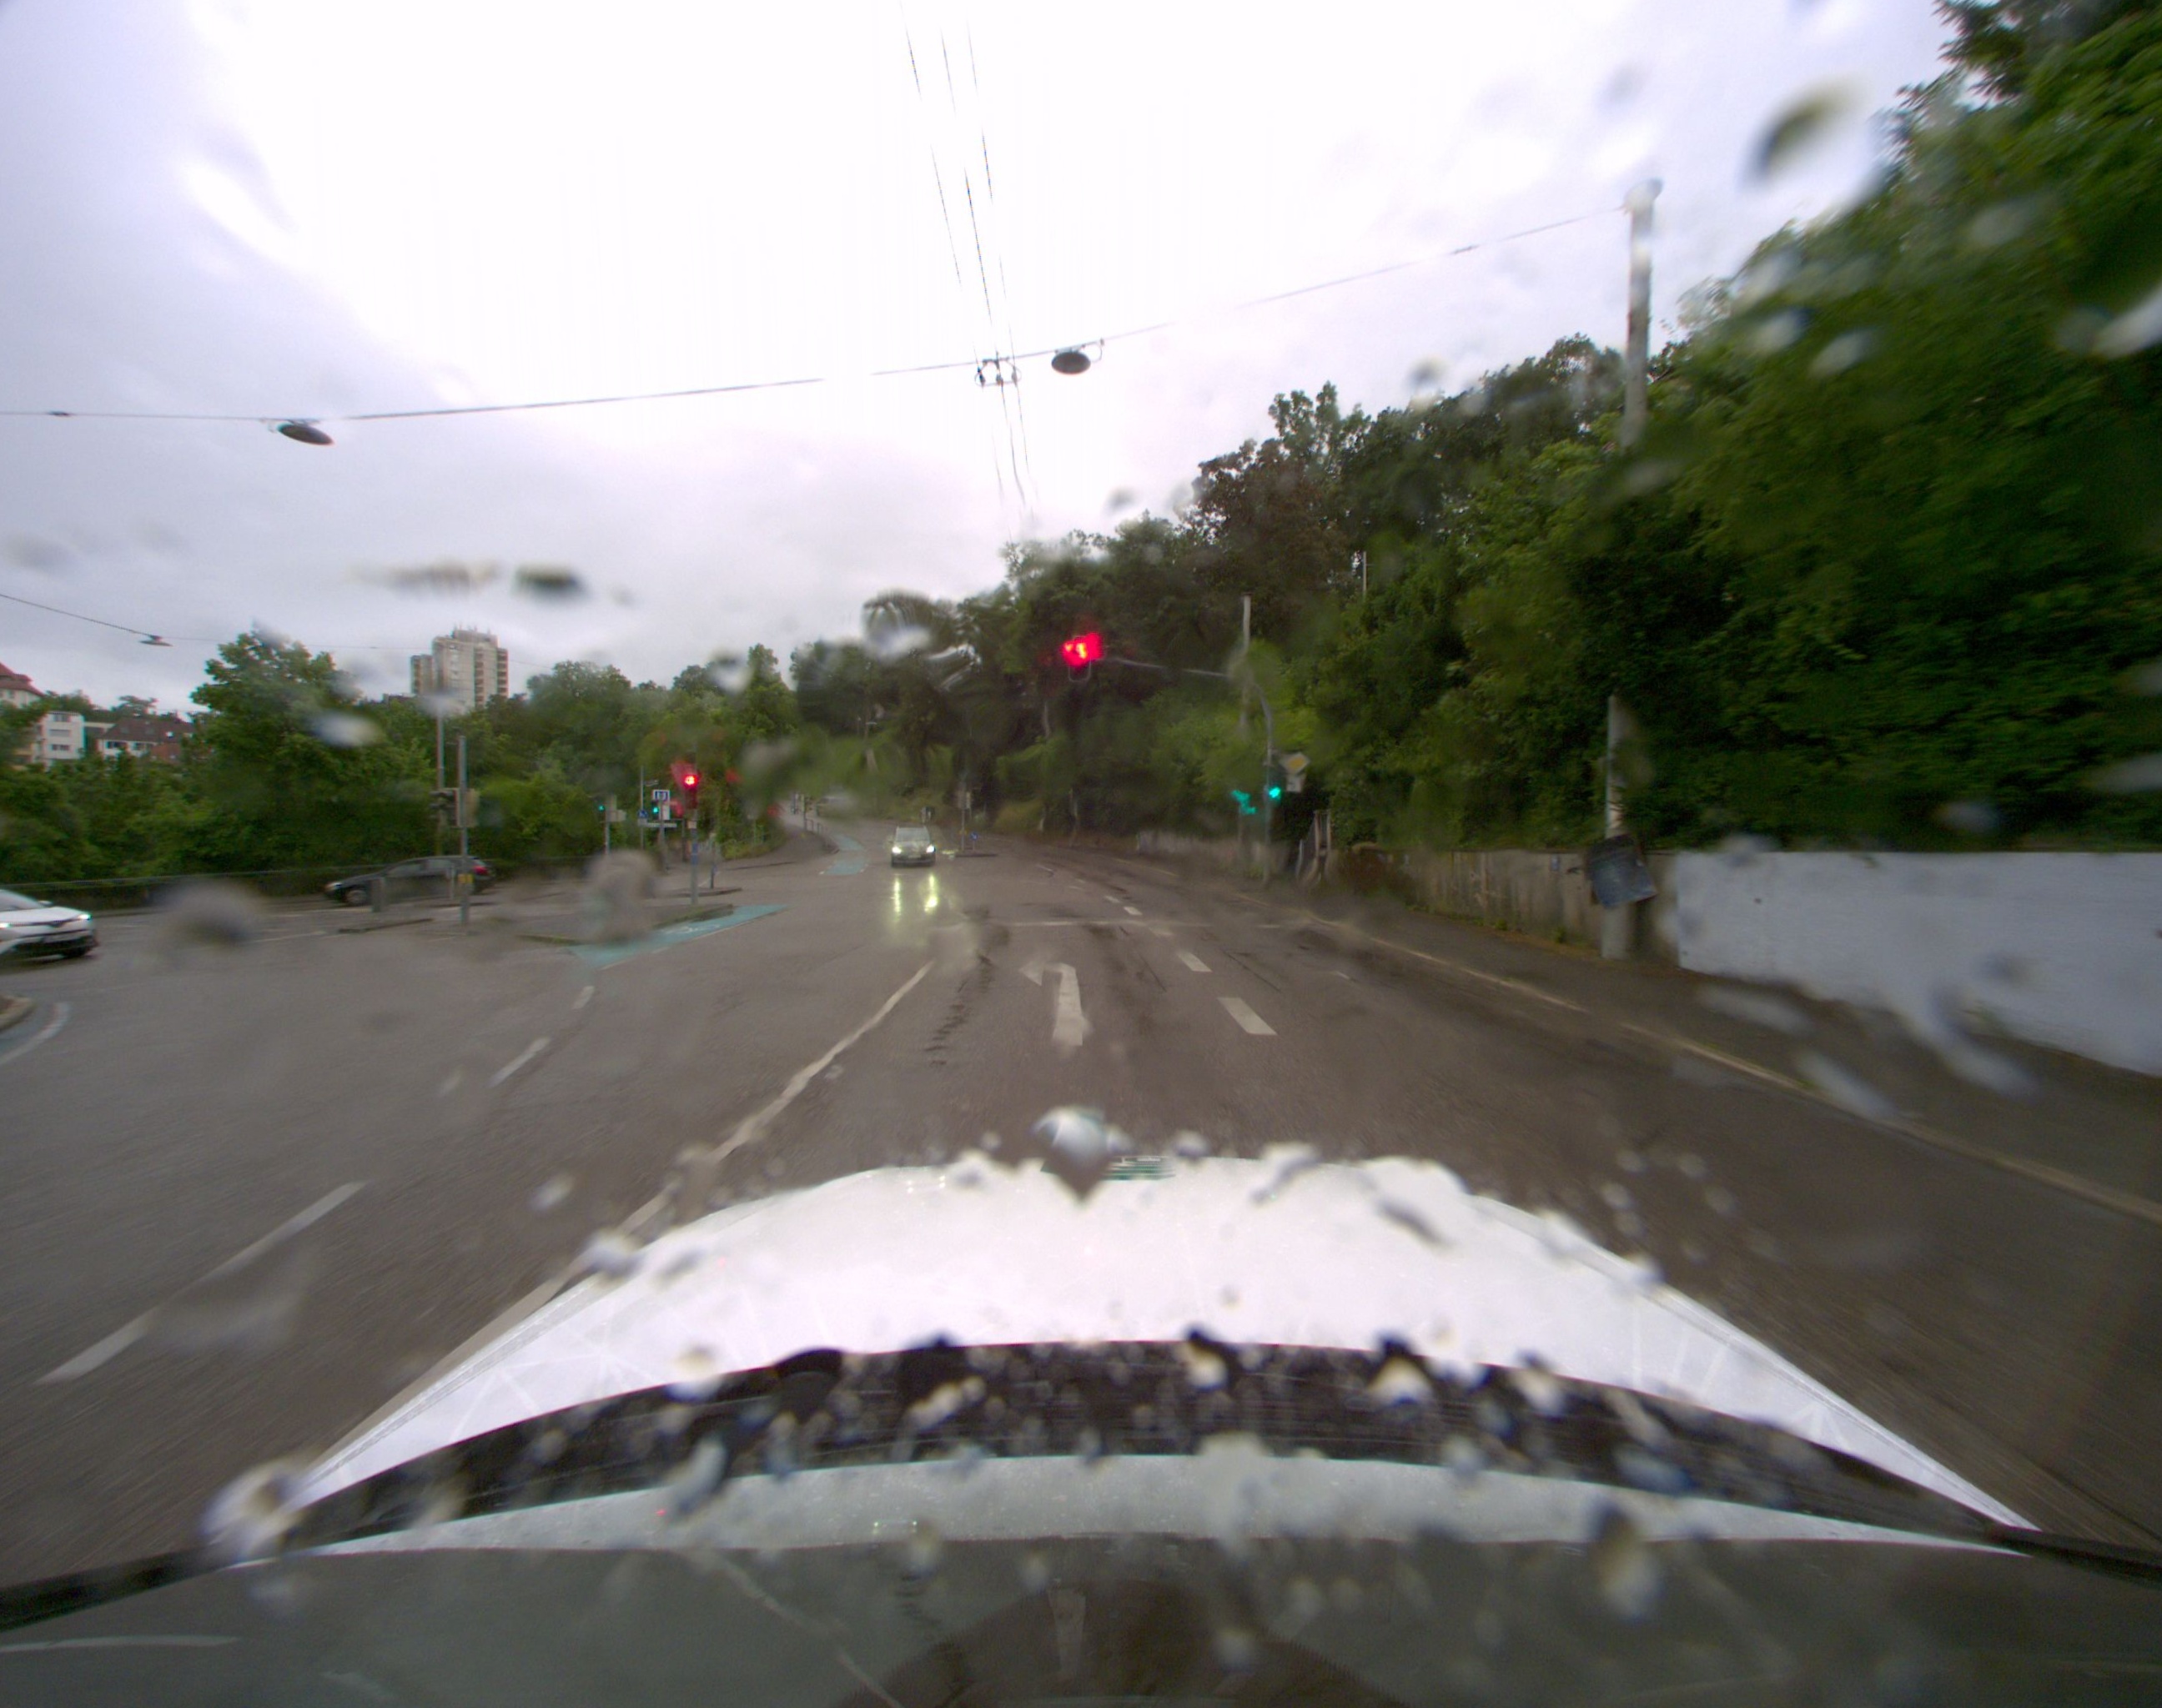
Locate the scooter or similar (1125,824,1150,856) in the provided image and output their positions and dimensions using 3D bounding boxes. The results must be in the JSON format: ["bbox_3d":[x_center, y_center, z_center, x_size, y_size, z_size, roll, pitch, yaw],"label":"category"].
[{"bbox_3d":[2.707,-0.703,39.327,0.617,1.421,2.151,-2,5,-12],"label":"scooter or similar"}]

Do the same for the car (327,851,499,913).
[{"bbox_3d":[-21.675,0.850,26.661,4.013,1.549,1.730,-5,5,-30],"label":"car"}]

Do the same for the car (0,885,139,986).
[{"bbox_3d":[-21.957,1.625,16.246,4.129,1.673,2.004,-2,3,6],"label":"car"}]

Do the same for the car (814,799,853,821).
[{"bbox_3d":[-23.939,-4.308,78.660,2.326,1.938,4.281,-4,6,-34],"label":"car"}]

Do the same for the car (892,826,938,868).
[{"bbox_3d":[-7.055,-0.356,34.834,1.742,1.549,3.986,-3,3,-11],"label":"car"}]
